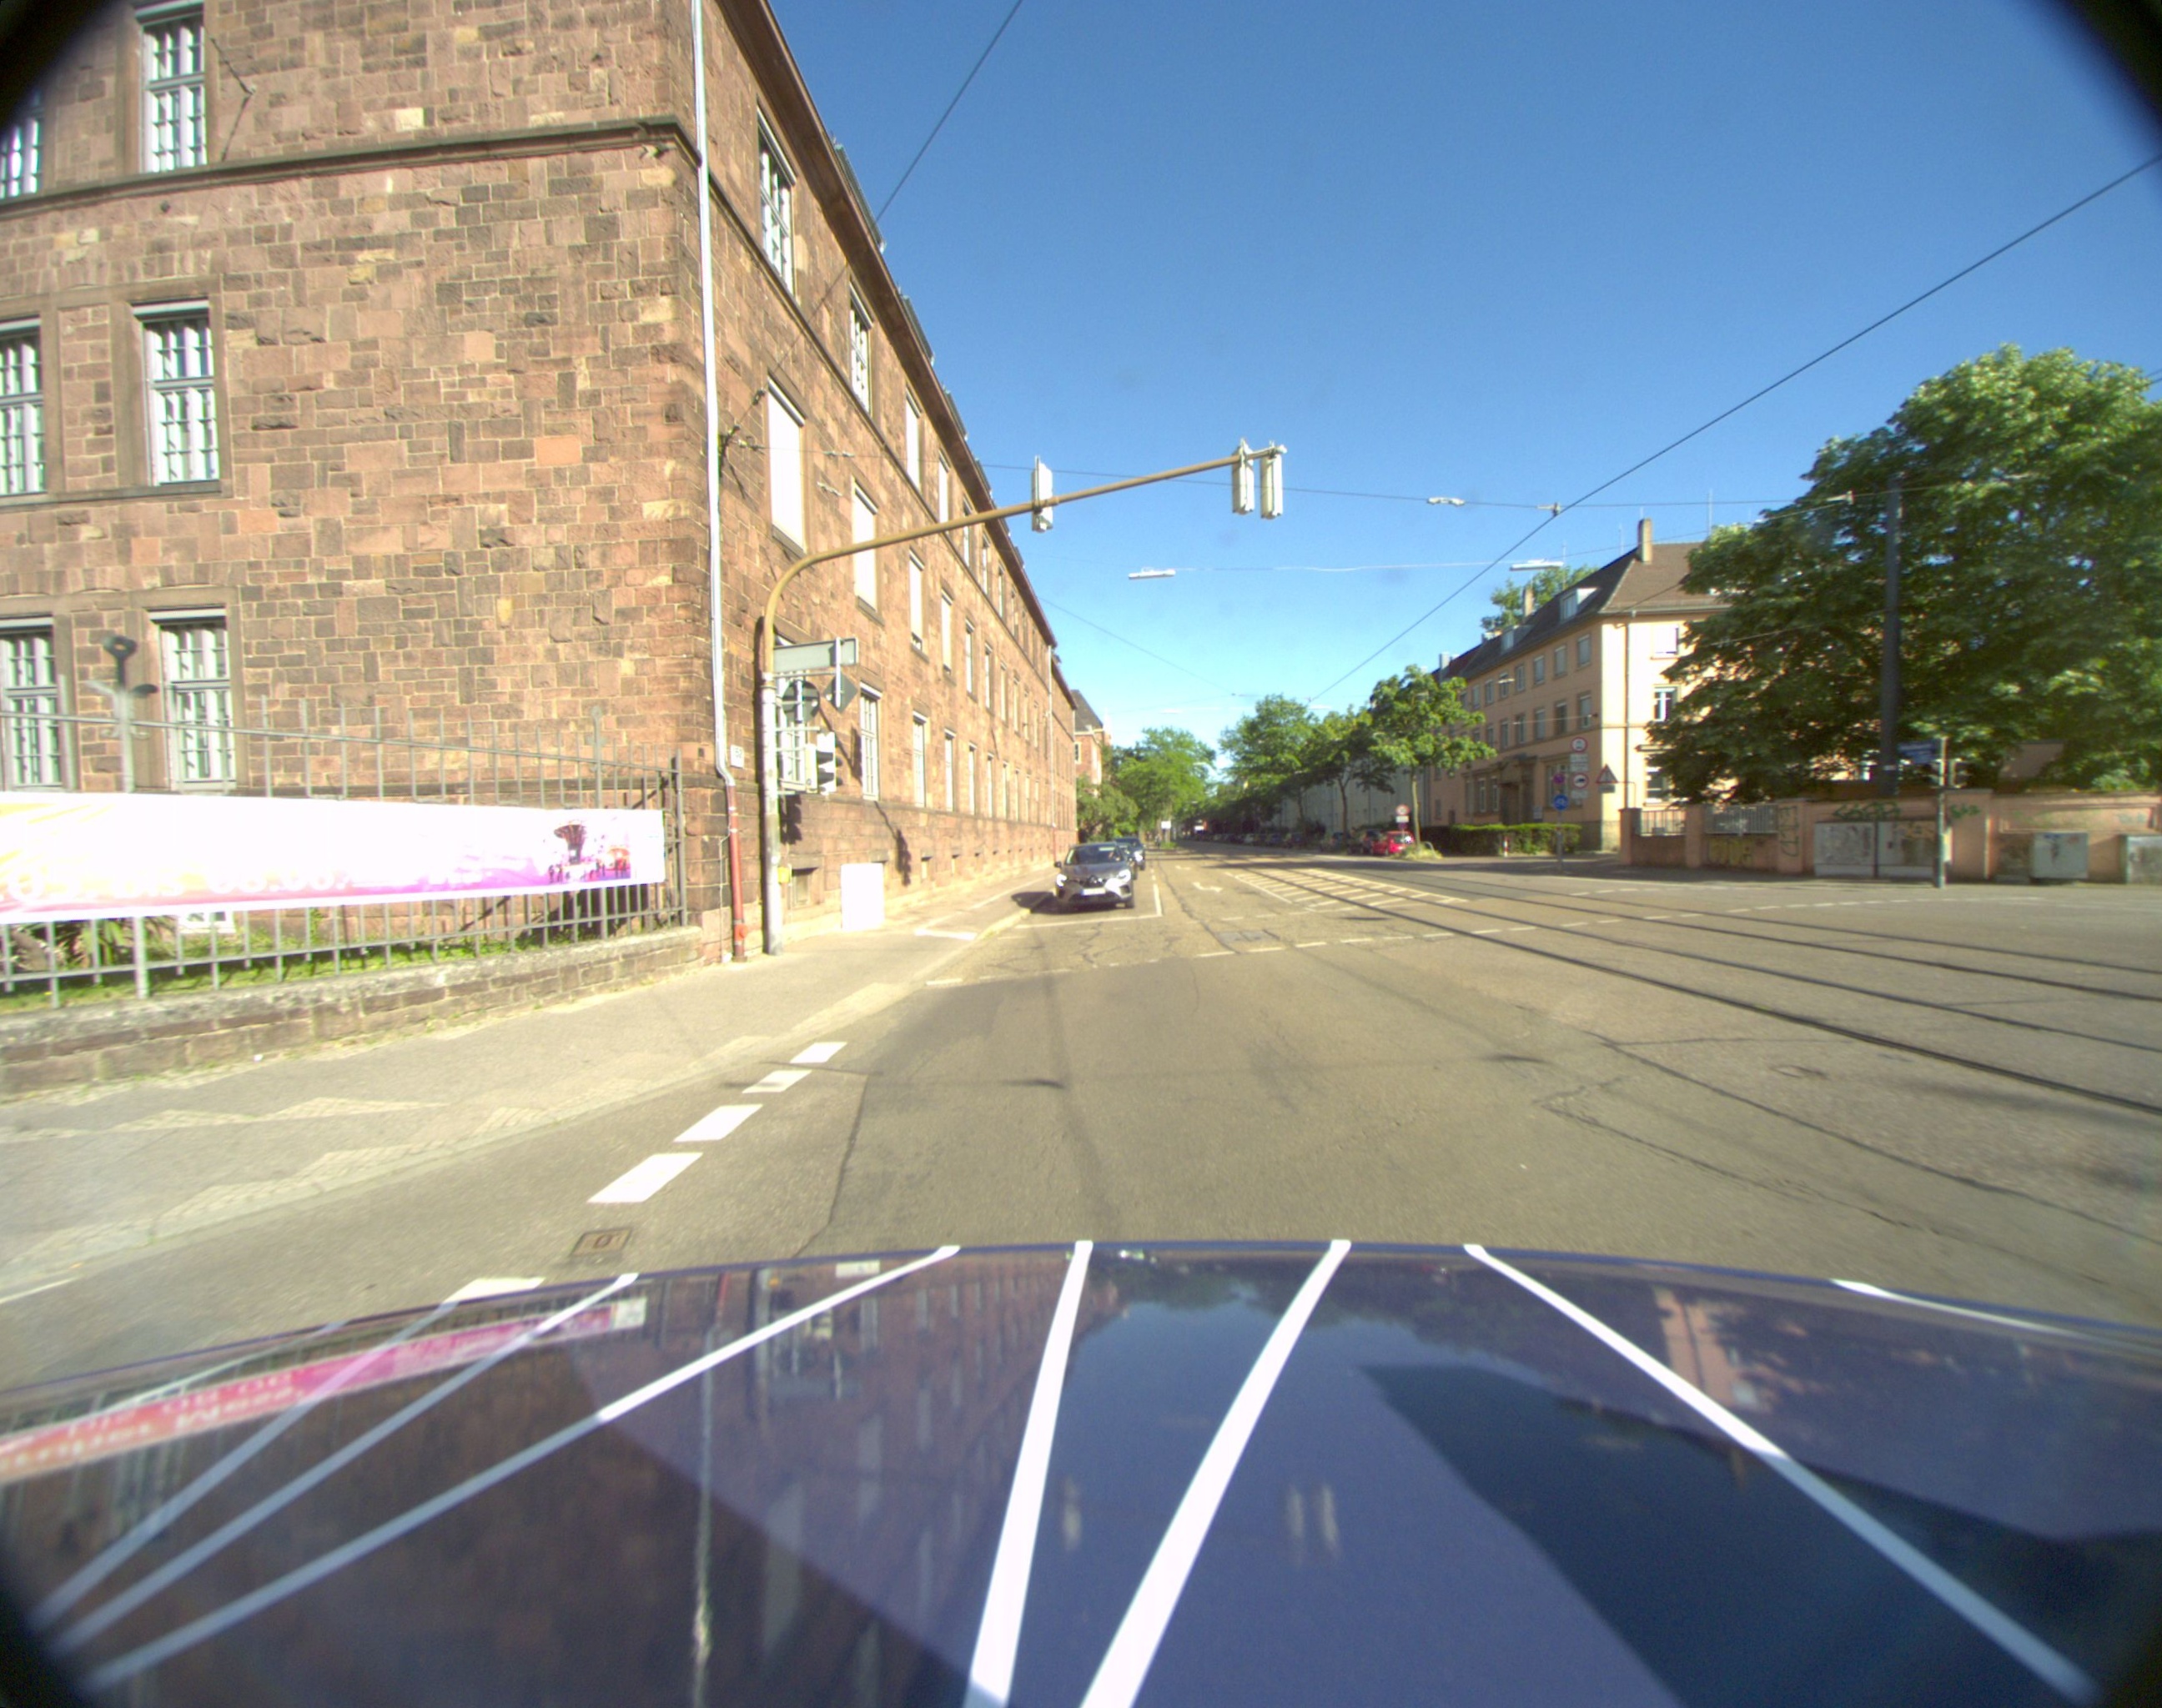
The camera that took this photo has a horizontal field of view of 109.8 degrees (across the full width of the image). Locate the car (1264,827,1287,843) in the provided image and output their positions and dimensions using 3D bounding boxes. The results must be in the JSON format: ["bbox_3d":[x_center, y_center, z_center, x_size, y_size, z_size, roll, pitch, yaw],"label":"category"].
[{"bbox_3d":[22.199,-2.174,86.737,1.815,1.815,3.795,-1,2,3],"label":"car"}]

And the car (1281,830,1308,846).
[{"bbox_3d":[21.050,-1.596,74.896,1.815,1.590,3.630,-1,2,3],"label":"car"}]

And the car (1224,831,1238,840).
[{"bbox_3d":[25.789,-3.198,130.818,1.815,1.411,3.630,-1,2,3],"label":"car"}]

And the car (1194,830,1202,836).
[{"bbox_3d":[32.296,-5.786,210.347,1.815,1.411,3.630,-1,2,3],"label":"car"}]

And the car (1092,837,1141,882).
[{"bbox_3d":[1.457,0.185,30.633,1.795,1.595,3.799,-2,2,3],"label":"car"}]

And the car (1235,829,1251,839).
[{"bbox_3d":[24.321,-2.973,114.146,1.815,1.411,3.630,-1,2,3],"label":"car"}]

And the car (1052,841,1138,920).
[{"bbox_3d":[0.408,0.538,18.416,1.795,1.595,3.799,-2,2,3],"label":"car"}]

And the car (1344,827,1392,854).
[{"bbox_3d":[18.859,-0.918,50.035,1.816,1.649,3.819,-1,2,1],"label":"car"}]

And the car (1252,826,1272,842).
[{"bbox_3d":[22.874,-2.527,95.880,1.815,1.930,3.630,-1,2,3],"label":"car"}]

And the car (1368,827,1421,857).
[{"bbox_3d":[18.692,-0.751,45.397,1.816,1.697,3.374,-1,2,1],"label":"car"}]

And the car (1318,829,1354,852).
[{"bbox_3d":[19.660,-1.070,58.743,1.815,1.649,3.877,-1,2,5],"label":"car"}]

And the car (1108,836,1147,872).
[{"bbox_3d":[2.319,-0.040,38.405,1.795,1.638,4.083,-2,2,3],"label":"car"}]

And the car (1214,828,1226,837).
[{"bbox_3d":[28.220,-4.367,154.315,1.815,1.768,3.630,-1,2,3],"label":"car"}]

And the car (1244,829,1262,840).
[{"bbox_3d":[23.774,-2.714,105.237,1.815,1.411,3.630,-1,2,3],"label":"car"}]

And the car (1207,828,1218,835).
[{"bbox_3d":[28.696,-4.853,165.946,1.815,1.514,3.630,-1,2,3],"label":"car"}]
